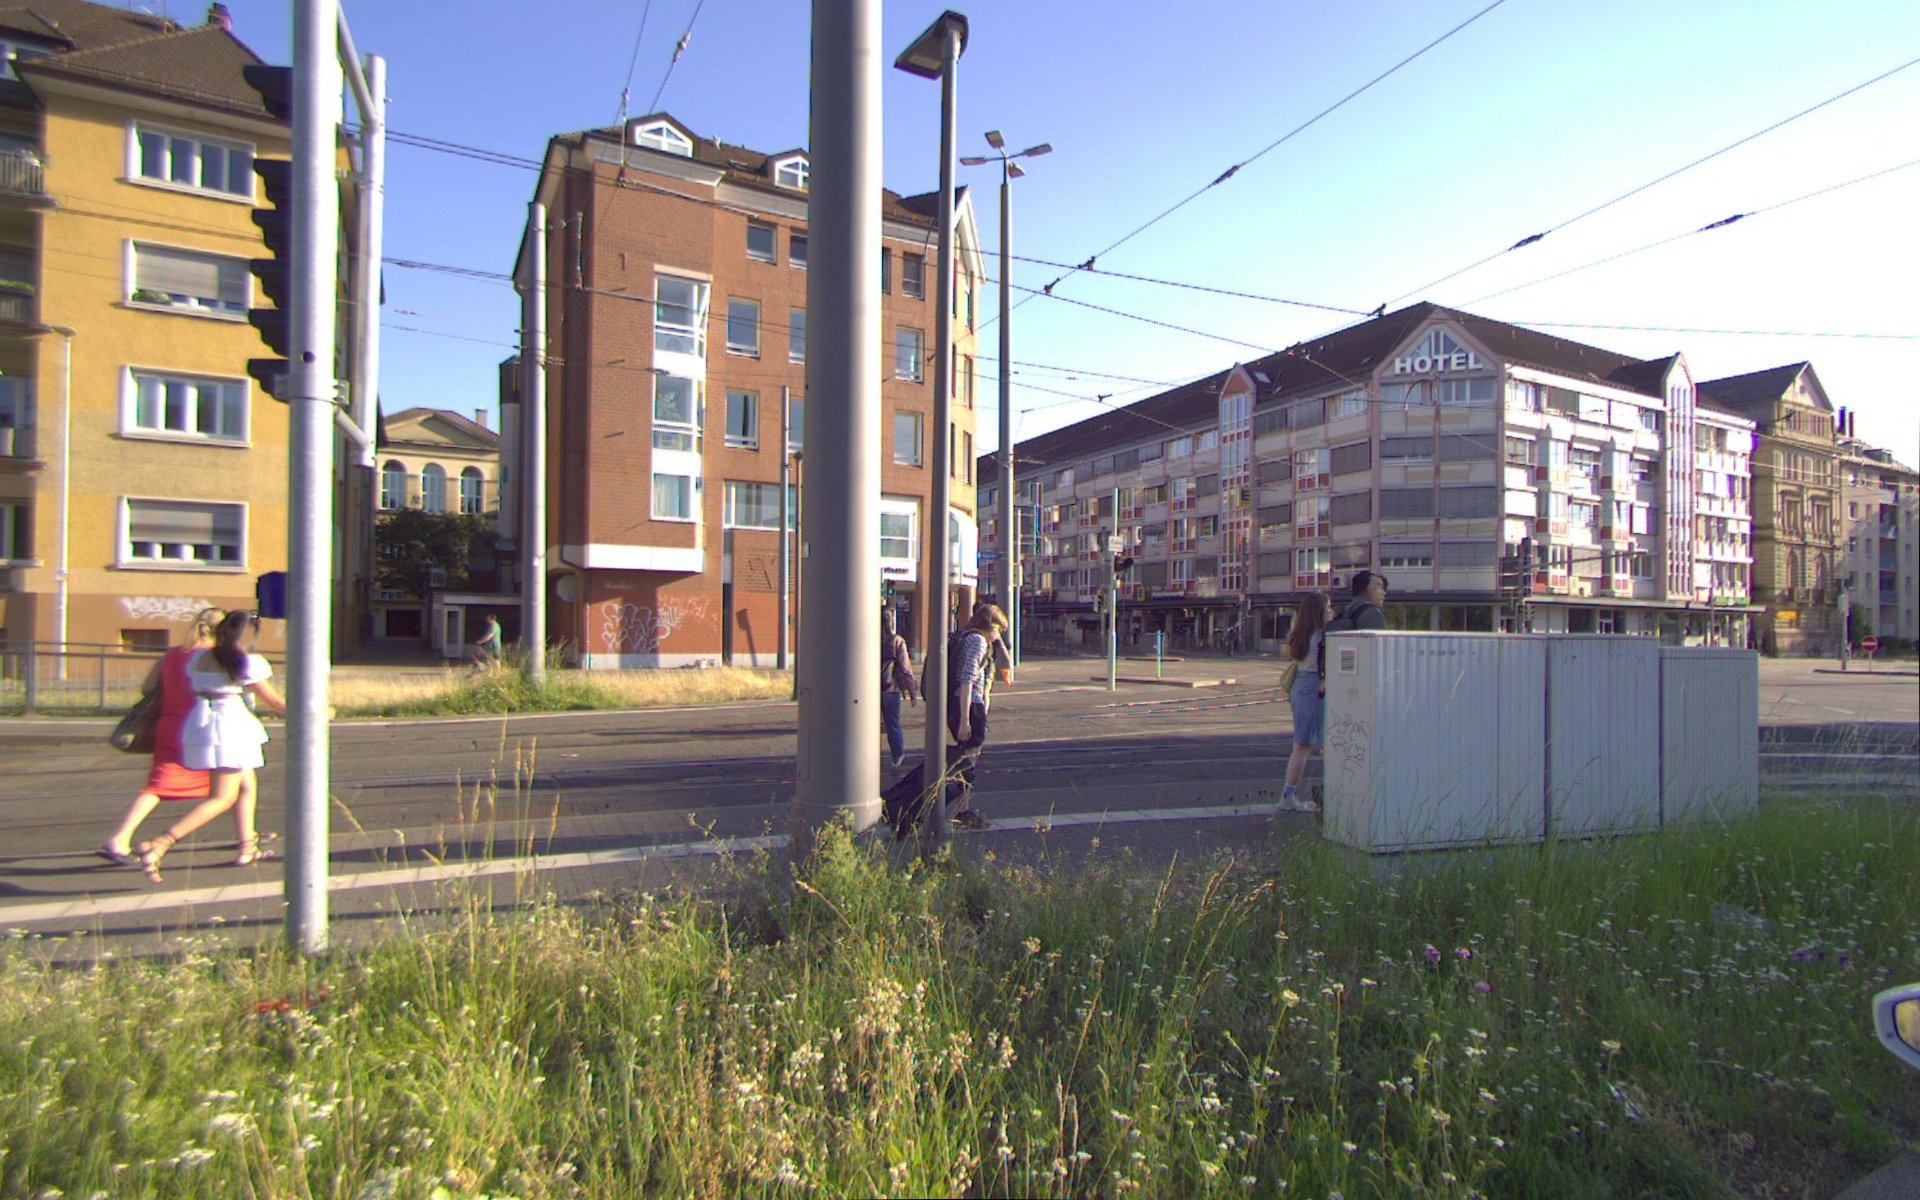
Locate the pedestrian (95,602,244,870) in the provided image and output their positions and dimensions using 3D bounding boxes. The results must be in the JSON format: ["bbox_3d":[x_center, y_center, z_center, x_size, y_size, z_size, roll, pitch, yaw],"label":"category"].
[{"bbox_3d":[-4.638,0.750,5.894,0.628,1.451,0.523,2,0,37],"label":"pedestrian"}]

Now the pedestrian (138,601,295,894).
[{"bbox_3d":[-4.076,0.757,5.510,0.628,1.475,0.522,2,0,39],"label":"pedestrian"}]

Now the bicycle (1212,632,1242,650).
[{"bbox_3d":[18.456,2.831,69.584,0.720,1.243,2.319,2,-2,-24],"label":"bicycle"}]

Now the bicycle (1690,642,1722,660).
[{"bbox_3d":[48.488,3.297,65.271,2.056,1.085,0.451,2,0,-13],"label":"bicycle"}]

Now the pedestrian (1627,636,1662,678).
[{"bbox_3d":[33.796,2.805,49.609,0.847,1.909,1.187,-5,4,-34],"label":"pedestrian"}]

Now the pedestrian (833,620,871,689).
[{"bbox_3d":[-2.592,1.296,24.144,0.825,1.605,0.683,2,0,-3],"label":"pedestrian"}]

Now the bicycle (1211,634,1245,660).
[{"bbox_3d":[15.108,2.659,56.664,2.071,1.385,0.579,0,1,-32],"label":"bicycle"}]

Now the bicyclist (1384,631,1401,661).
[{"bbox_3d":[24.035,2.544,55.837,0.649,1.618,0.636,-1,1,-26],"label":"bicyclist"}]

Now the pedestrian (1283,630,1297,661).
[{"bbox_3d":[19.092,2.623,58.127,0.612,1.717,0.866,2,0,29],"label":"pedestrian"}]

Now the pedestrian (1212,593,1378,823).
[{"bbox_3d":[2.577,0.791,7.777,0.887,1.662,0.784,2,0,-22],"label":"pedestrian"}]

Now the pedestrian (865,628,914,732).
[{"bbox_3d":[-0.969,1.084,13.716,0.586,1.378,0.607,1,-2,-11],"label":"pedestrian"}]

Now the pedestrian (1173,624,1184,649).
[{"bbox_3d":[16.624,2.763,76.416,0.601,1.877,0.601,2,0,-20],"label":"pedestrian"}]

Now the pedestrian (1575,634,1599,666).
[{"bbox_3d":[30.590,2.434,48.993,0.847,1.472,0.700,2,0,-34],"label":"pedestrian"}]

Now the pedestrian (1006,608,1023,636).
[{"bbox_3d":[3.407,1.387,62.995,0.773,1.682,0.677,2,0,-35],"label":"pedestrian"}]

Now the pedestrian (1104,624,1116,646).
[{"bbox_3d":[12.520,2.898,83.900,0.804,1.802,0.680,2,0,0],"label":"pedestrian"}]

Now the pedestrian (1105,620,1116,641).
[{"bbox_3d":[12.151,2.430,81.274,0.741,1.667,0.547,0,1,-20],"label":"pedestrian"}]

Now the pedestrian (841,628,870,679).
[{"bbox_3d":[-3.354,1.712,32.348,0.825,1.605,0.684,2,0,1],"label":"pedestrian"}]

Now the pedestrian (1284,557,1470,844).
[{"bbox_3d":[2.894,0.635,7.000,0.888,1.825,0.783,-3,2,-25],"label":"pedestrian"}]

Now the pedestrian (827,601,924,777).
[{"bbox_3d":[-0.803,0.803,9.459,0.612,1.556,0.782,2,0,-29],"label":"pedestrian"}]

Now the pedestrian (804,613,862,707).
[{"bbox_3d":[-2.241,1.040,17.686,0.781,1.609,0.602,2,0,-37],"label":"pedestrian"}]

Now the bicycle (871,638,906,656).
[{"bbox_3d":[-3.914,2.586,55.017,1.813,0.974,0.540,1,1,-27],"label":"bicycle"}]

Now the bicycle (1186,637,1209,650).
[{"bbox_3d":[17.088,3.129,72.268,0.494,0.929,2.066,2,-2,-24],"label":"bicycle"}]

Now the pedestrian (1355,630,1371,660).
[{"bbox_3d":[22.940,2.567,57.132,0.705,1.684,0.631,-1,-2,37],"label":"pedestrian"}]

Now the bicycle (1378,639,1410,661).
[{"bbox_3d":[24.169,2.771,55.914,1.746,1.160,0.636,-1,1,-27],"label":"bicycle"}]

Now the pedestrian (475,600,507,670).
[{"bbox_3d":[-12.657,0.942,27.095,0.713,1.872,0.559,2,0,-23],"label":"pedestrian"}]

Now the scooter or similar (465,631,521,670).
[{"bbox_3d":[-12.558,1.369,27.039,1.311,1.019,0.484,2,0,-23],"label":"scooter or similar"}]

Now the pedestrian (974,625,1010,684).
[{"bbox_3d":[1.004,1.691,31.299,0.824,1.781,0.687,2,0,-44],"label":"pedestrian"}]

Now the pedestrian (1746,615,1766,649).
[{"bbox_3d":[57.870,2.325,73.028,0.953,2.430,0.918,2,0,-40],"label":"pedestrian"}]

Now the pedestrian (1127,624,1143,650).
[{"bbox_3d":[11.480,2.406,65.899,0.773,1.682,0.677,2,0,-35],"label":"pedestrian"}]

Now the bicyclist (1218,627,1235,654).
[{"bbox_3d":[15.019,2.284,56.606,0.730,1.501,0.561,-1,1,-31],"label":"bicyclist"}]

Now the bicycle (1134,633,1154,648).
[{"bbox_3d":[14.629,3.195,79.839,1.630,1.134,0.480,2,0,-30],"label":"bicycle"}]

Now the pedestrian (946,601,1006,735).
[{"bbox_3d":[0.207,0.916,13.920,0.761,1.781,0.900,2,0,-1],"label":"pedestrian"}]

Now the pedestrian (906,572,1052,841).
[{"bbox_3d":[0.115,0.663,6.697,0.612,1.662,0.781,2,0,-32],"label":"pedestrian"}]
